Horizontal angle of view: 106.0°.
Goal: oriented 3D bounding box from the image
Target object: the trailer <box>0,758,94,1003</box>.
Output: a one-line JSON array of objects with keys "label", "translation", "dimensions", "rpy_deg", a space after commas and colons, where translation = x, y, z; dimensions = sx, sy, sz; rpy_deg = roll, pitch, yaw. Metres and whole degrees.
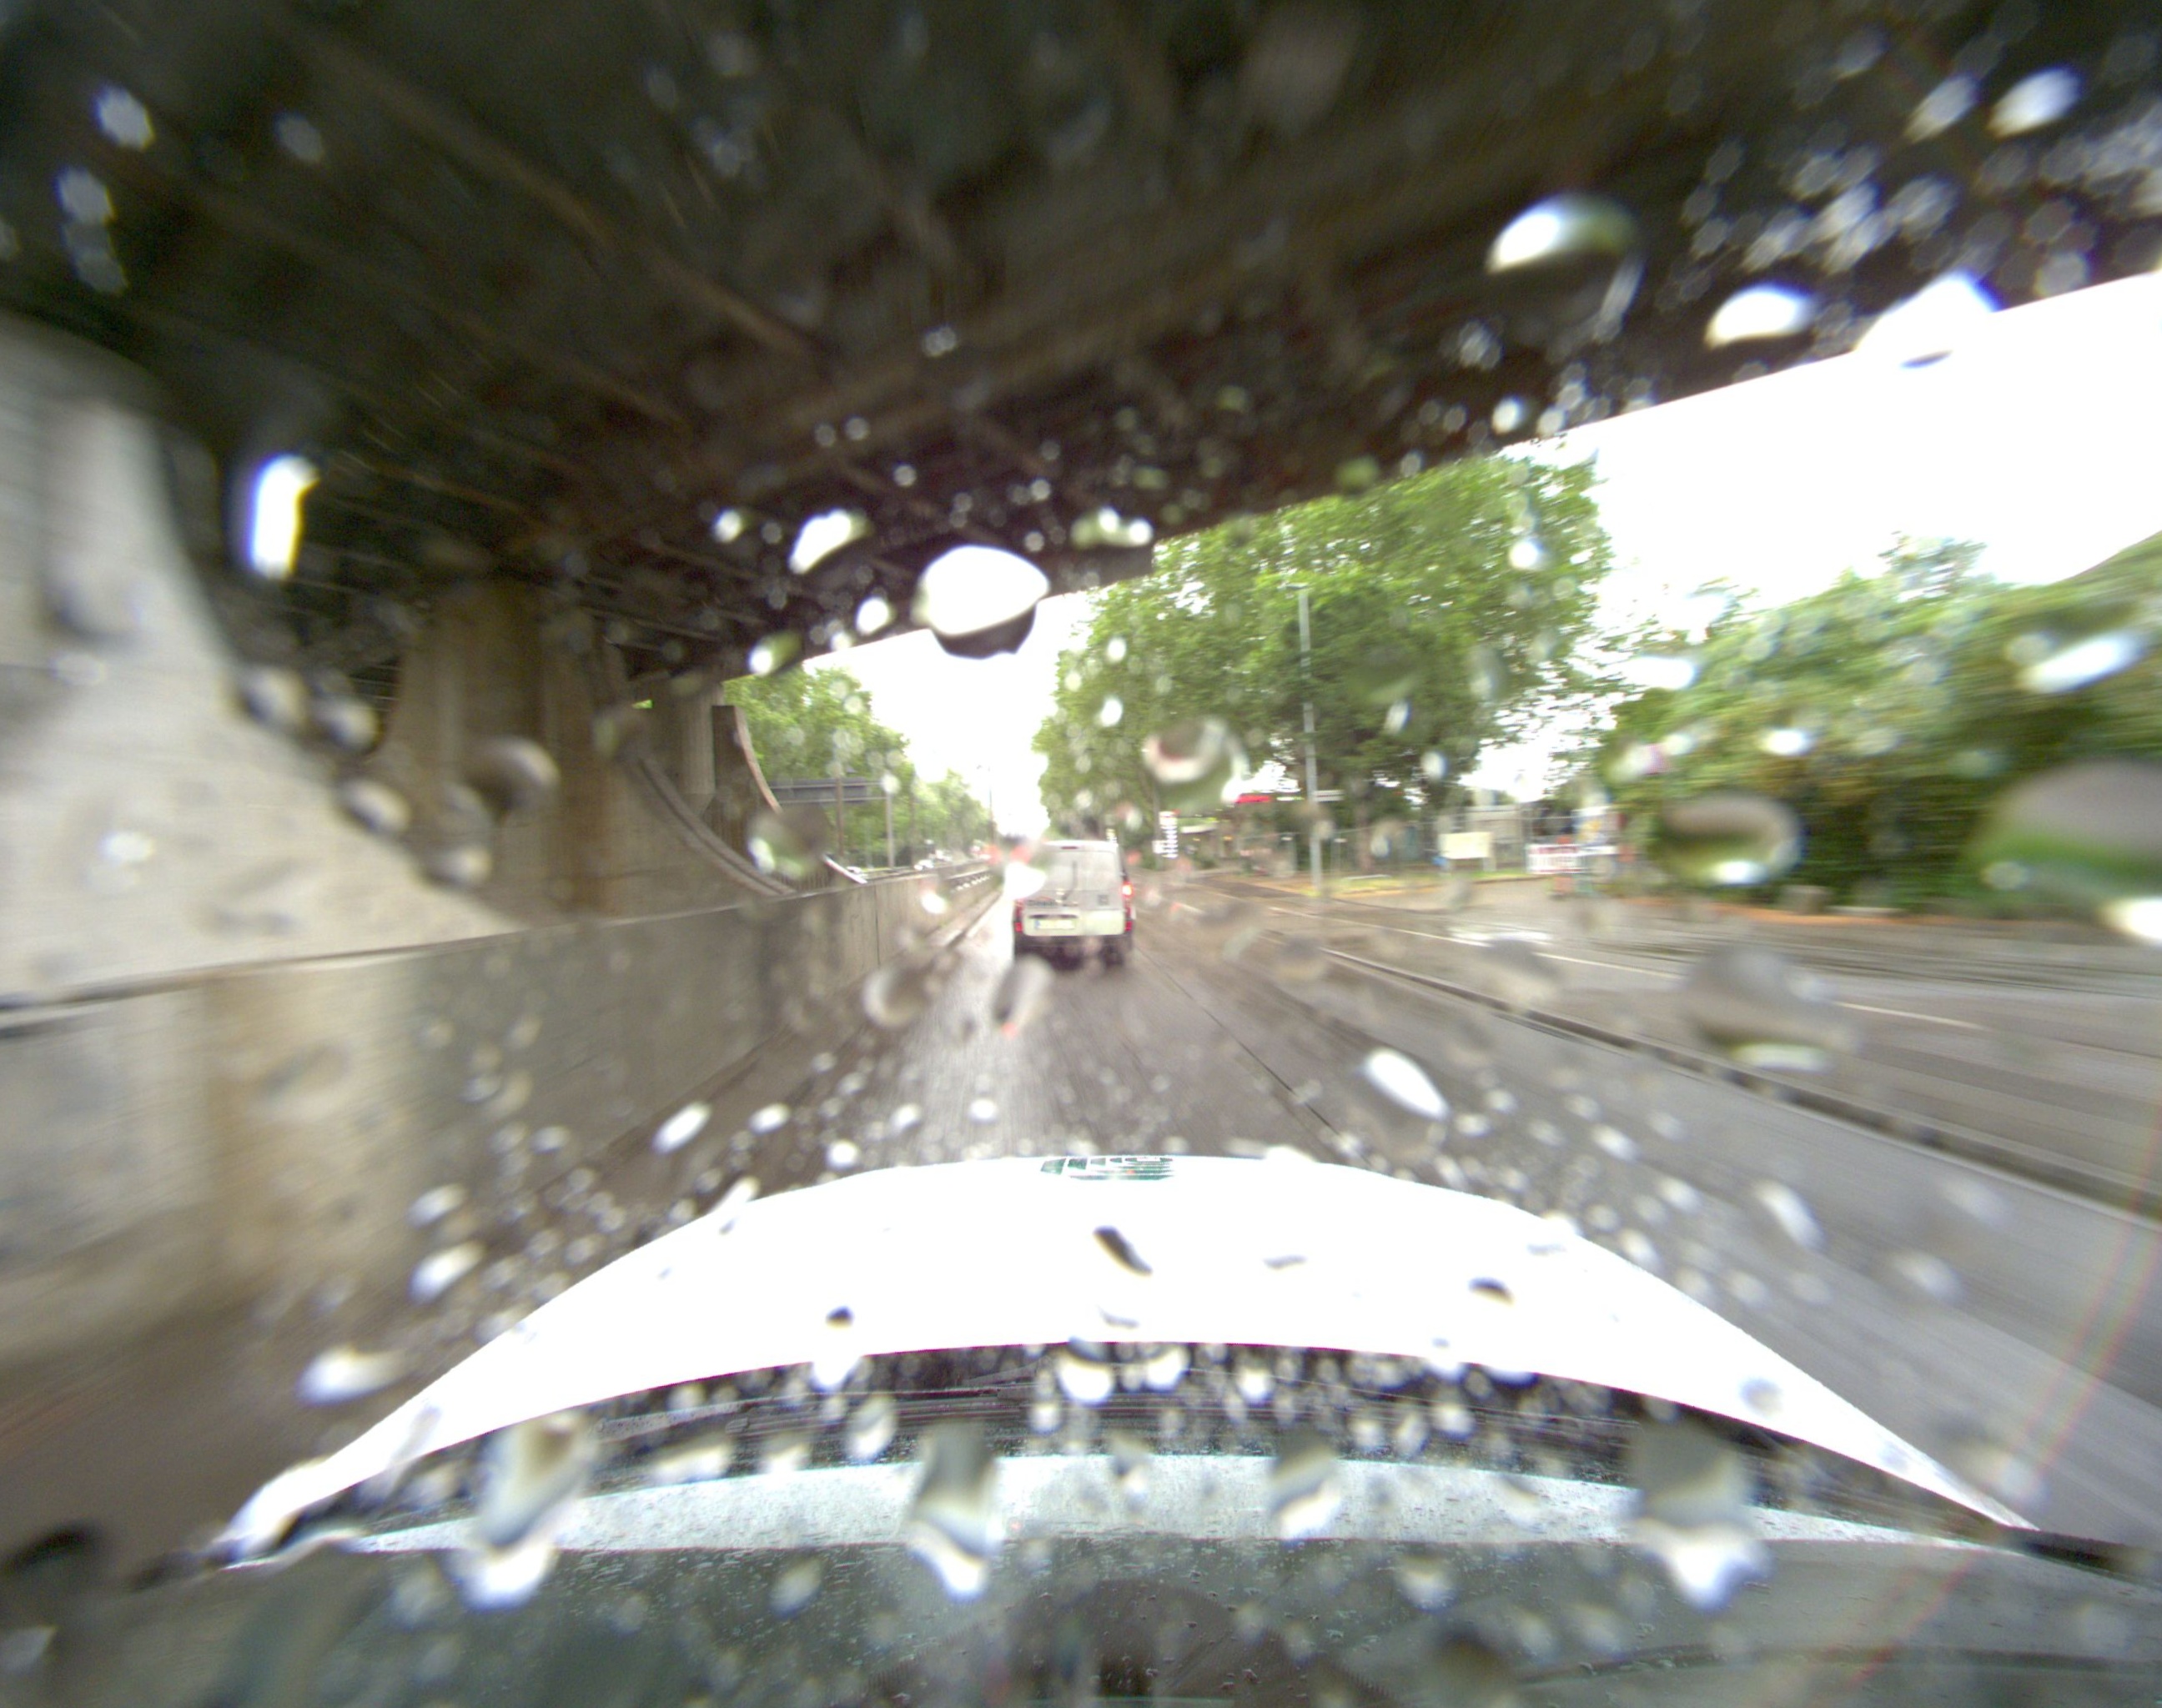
[{"label": "trailer", "translation": [-18.808, 0.495, 10.115], "dimensions": [2.673, 3.986, 8.515], "rpy_deg": [-3, 0, -2]}]

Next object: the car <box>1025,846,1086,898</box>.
[{"label": "car", "translation": [-0.944, 0.624, 28.942], "dimensions": [1.913, 1.609, 3.995], "rpy_deg": [-3, 0, -3]}]

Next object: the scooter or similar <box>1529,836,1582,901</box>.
[{"label": "scooter or similar", "translation": [10.620, 0.311, 18.206], "dimensions": [0.701, 1.310, 1.568], "rpy_deg": [-9, -4, 37]}]

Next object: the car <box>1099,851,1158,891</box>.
[{"label": "car", "translation": [2.103, 0.738, 37.059], "dimensions": [1.991, 1.585, 3.992], "rpy_deg": [-4, 0, -6]}]

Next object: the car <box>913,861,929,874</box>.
[{"label": "car", "translation": [-21.878, 1.801, 111.192], "dimensions": [1.907, 1.571, 3.987], "rpy_deg": [-3, 0, -9]}]

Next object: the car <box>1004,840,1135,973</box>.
[{"label": "car", "translation": [-0.308, 0.767, 13.122], "dimensions": [1.753, 1.778, 3.993], "rpy_deg": [2, -1, -5]}]

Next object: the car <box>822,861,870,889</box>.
[{"label": "car", "translation": [-15.031, 1.320, 52.351], "dimensions": [1.990, 1.632, 4.572], "rpy_deg": [-3, 0, -5]}]

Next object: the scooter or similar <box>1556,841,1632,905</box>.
[{"label": "scooter or similar", "translation": [10.362, 0.358, 16.511], "dimensions": [0.765, 1.178, 1.554], "rpy_deg": [-6, 0, 14]}]

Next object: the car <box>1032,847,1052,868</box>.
[{"label": "car", "translation": [-4.383, 0.410, 92.410], "dimensions": [2.043, 2.140, 3.997], "rpy_deg": [-3, 0, -2]}]
